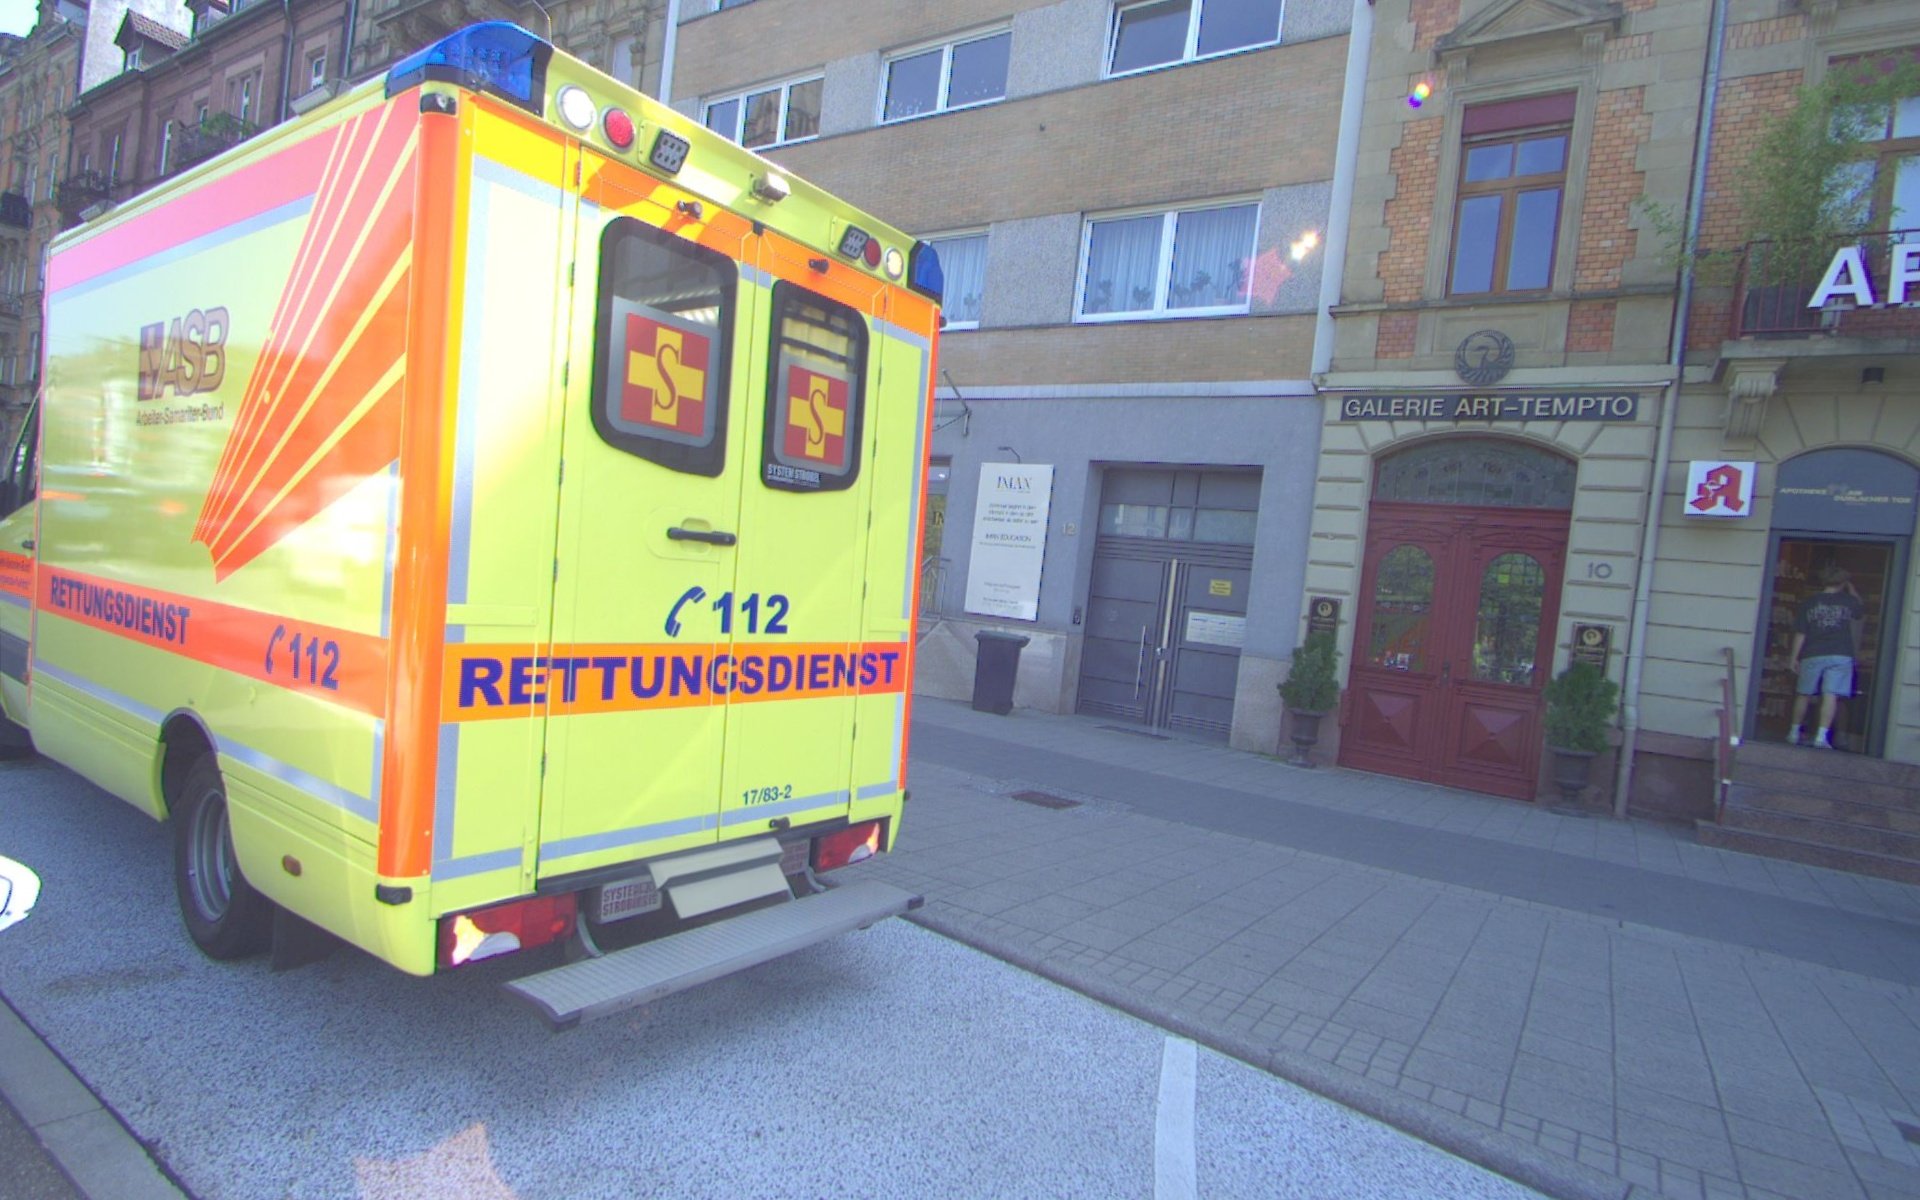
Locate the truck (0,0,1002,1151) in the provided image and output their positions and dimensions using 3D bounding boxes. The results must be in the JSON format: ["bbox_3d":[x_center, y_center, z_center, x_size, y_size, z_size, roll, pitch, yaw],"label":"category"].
[{"bbox_3d":[-3.118,-0.321,5.140,6.241,2.807,2.326,7,2,37],"label":"truck"}]

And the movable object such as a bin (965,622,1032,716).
[{"bbox_3d":[0.518,0.908,13.433,0.715,1.119,0.646,7,2,8],"label":"movable object such as a bin"}]

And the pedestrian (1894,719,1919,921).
[{"bbox_3d":[7.106,1.487,6.874,0.829,1.530,0.557,7,2,34],"label":"pedestrian"}]

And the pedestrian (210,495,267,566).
[{"bbox_3d":[-19.903,-1.902,27.770,0.729,1.800,0.870,7,1,6],"label":"pedestrian"}]

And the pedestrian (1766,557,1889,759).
[{"bbox_3d":[8.641,0.573,10.057,0.651,1.886,0.737,7,1,33],"label":"pedestrian"}]
